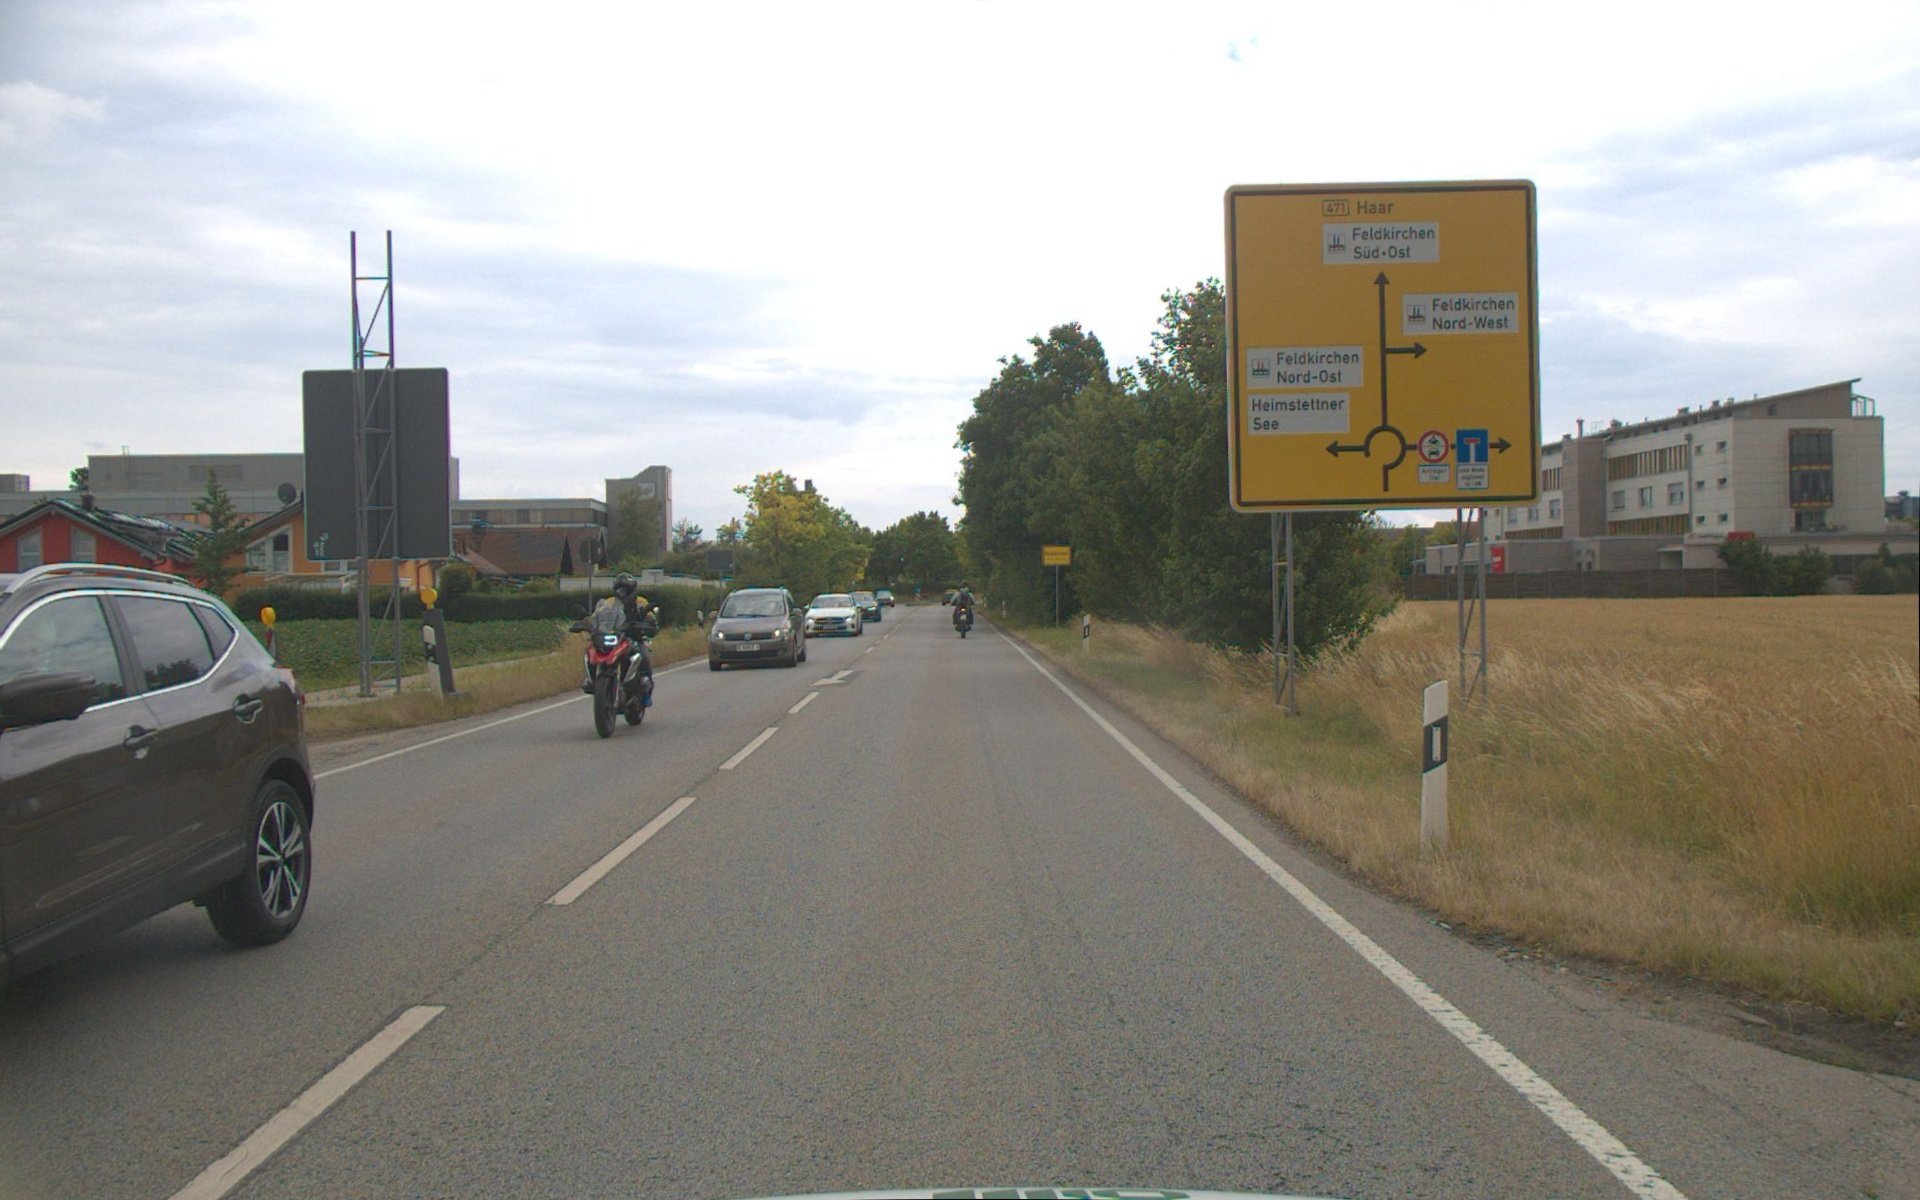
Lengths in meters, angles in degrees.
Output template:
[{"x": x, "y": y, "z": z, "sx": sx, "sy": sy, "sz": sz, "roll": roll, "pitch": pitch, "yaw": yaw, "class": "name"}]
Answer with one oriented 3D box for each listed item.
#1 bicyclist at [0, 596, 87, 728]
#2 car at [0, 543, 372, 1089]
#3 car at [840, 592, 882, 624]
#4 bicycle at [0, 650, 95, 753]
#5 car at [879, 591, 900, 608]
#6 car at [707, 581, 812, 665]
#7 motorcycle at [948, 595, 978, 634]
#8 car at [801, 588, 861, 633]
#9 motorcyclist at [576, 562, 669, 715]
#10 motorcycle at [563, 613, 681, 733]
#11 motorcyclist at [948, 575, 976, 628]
[{"x": -11.728, "y": 0.764, "z": 21.055, "sx": 0.518, "sy": 1.612, "sz": 1.223, "roll": -3, "pitch": 0, "yaw": -1, "class": "bicyclist"}, {"x": -3.718, "y": 0.662, "z": 5.831, "sx": 1.694, "sy": 1.614, "sz": 4.504, "roll": -2, "pitch": 0, "yaw": -1, "class": "car"}, {"x": -4.823, "y": 0.366, "z": 80.727, "sx": 1.815, "sy": 1.490, "sz": 4.369, "roll": -2, "pitch": 0, "yaw": -1, "class": "car"}, {"x": -11.711, "y": 1.264, "z": 20.979, "sx": 0.518, "sy": 1.176, "sz": 1.794, "roll": -3, "pitch": 0, "yaw": -1, "class": "bicycle"}, {"x": -6.535, "y": -0.048, "z": 153.851, "sx": 1.779, "sy": 1.520, "sz": 4.203, "roll": -2, "pitch": 0, "yaw": -1, "class": "car"}, {"x": -4.105, "y": 0.436, "z": 34.375, "sx": 1.670, "sy": 1.566, "sz": 4.300, "roll": -3, "pitch": 0, "yaw": -1, "class": "car"}, {"x": 0.077, "y": 0.441, "z": 52.623, "sx": 0.878, "sy": 1.178, "sz": 2.620, "roll": -1, "pitch": 0, "yaw": -1, "class": "motorcycle"}, {"x": -4.347, "y": 0.343, "z": 56.161, "sx": 1.737, "sy": 1.397, "sz": 4.099, "roll": -3, "pitch": 0, "yaw": -1, "class": "car"}, {"x": -3.668, "y": 0.407, "z": 18.067, "sx": 0.781, "sy": 1.601, "sz": 1.078, "roll": -1, "pitch": 0, "yaw": -1, "class": "motorcyclist"}, {"x": -3.660, "y": 0.758, "z": 18.164, "sx": 0.781, "sy": 1.178, "sz": 2.620, "roll": -1, "pitch": 0, "yaw": -1, "class": "motorcycle"}, {"x": 0.069, "y": 0.031, "z": 52.623, "sx": 0.844, "sy": 1.652, "sz": 1.190, "roll": -1, "pitch": 0, "yaw": -1, "class": "motorcyclist"}]
